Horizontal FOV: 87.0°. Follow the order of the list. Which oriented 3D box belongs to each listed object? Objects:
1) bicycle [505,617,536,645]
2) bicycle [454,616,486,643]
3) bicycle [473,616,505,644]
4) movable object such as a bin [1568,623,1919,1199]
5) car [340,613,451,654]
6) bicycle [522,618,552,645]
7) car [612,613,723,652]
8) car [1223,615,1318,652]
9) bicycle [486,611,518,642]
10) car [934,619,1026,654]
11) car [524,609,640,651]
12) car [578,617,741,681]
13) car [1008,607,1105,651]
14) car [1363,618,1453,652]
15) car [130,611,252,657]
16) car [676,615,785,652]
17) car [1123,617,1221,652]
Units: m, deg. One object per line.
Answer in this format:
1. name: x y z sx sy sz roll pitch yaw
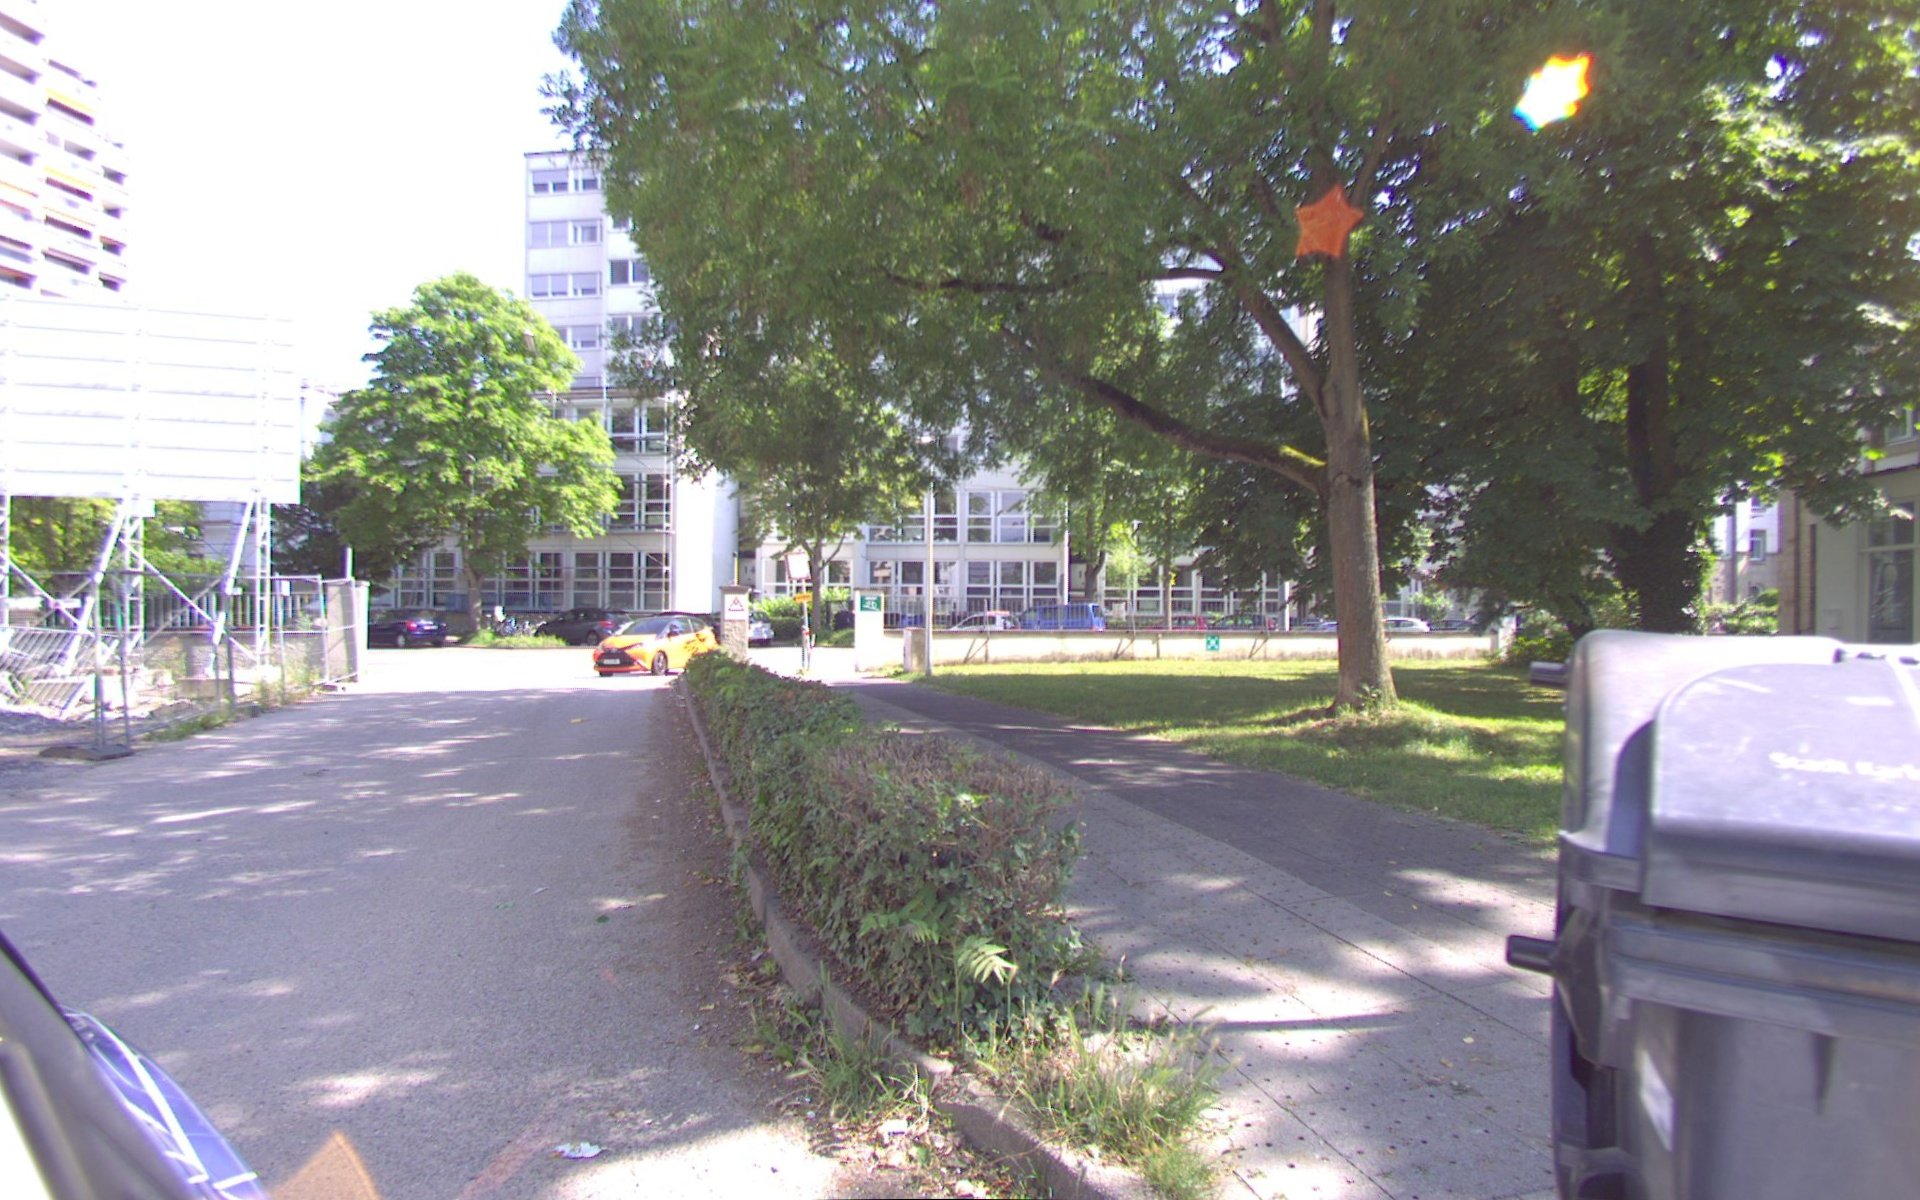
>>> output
1. bicycle: -19.777 1.379 45.601 0.483 1.209 2.016 0 -1 1
2. bicycle: -22.028 1.315 45.544 0.482 1.209 2.016 0 -1 0
3. bicycle: -21.250 1.352 45.720 0.483 1.209 2.016 0 -1 1
4. movable object such as a bin: 1.424 0.731 0.934 1.398 1.407 1.236 0 -1 28
5. car: -21.077 1.223 37.773 3.977 1.463 1.640 -1 -1 25
6. bicycle: -19.067 1.408 45.668 0.483 1.209 2.016 0 -1 1
7. car: -11.860 1.301 41.034 4.160 1.487 1.787 0 -1 24
8. car: 14.542 1.578 47.395 3.980 1.652 1.787 -1 -2 27
9. bicycle: -20.700 1.202 45.758 0.483 1.389 2.016 0 -1 1
10. car: 0.861 1.569 44.594 3.845 1.474 1.688 -1 -2 38
11. car: -14.980 1.171 40.049 4.366 1.577 1.792 -1 -1 26
12. car: -7.214 1.171 24.729 1.651 1.423 4.145 -1 -2 21
13. car: 4.306 1.314 45.225 3.980 1.921 1.771 -1 -2 27
14. car: 22.731 1.762 51.398 3.985 1.674 1.810 -1 -2 31
15. car: -27.206 1.160 35.802 4.126 1.421 1.826 1 1 27
16. car: -9.585 1.373 42.232 4.319 1.497 1.785 -1 -1 27
17. car: 9.937 1.614 47.401 4.198 1.550 1.766 -1 -2 27
